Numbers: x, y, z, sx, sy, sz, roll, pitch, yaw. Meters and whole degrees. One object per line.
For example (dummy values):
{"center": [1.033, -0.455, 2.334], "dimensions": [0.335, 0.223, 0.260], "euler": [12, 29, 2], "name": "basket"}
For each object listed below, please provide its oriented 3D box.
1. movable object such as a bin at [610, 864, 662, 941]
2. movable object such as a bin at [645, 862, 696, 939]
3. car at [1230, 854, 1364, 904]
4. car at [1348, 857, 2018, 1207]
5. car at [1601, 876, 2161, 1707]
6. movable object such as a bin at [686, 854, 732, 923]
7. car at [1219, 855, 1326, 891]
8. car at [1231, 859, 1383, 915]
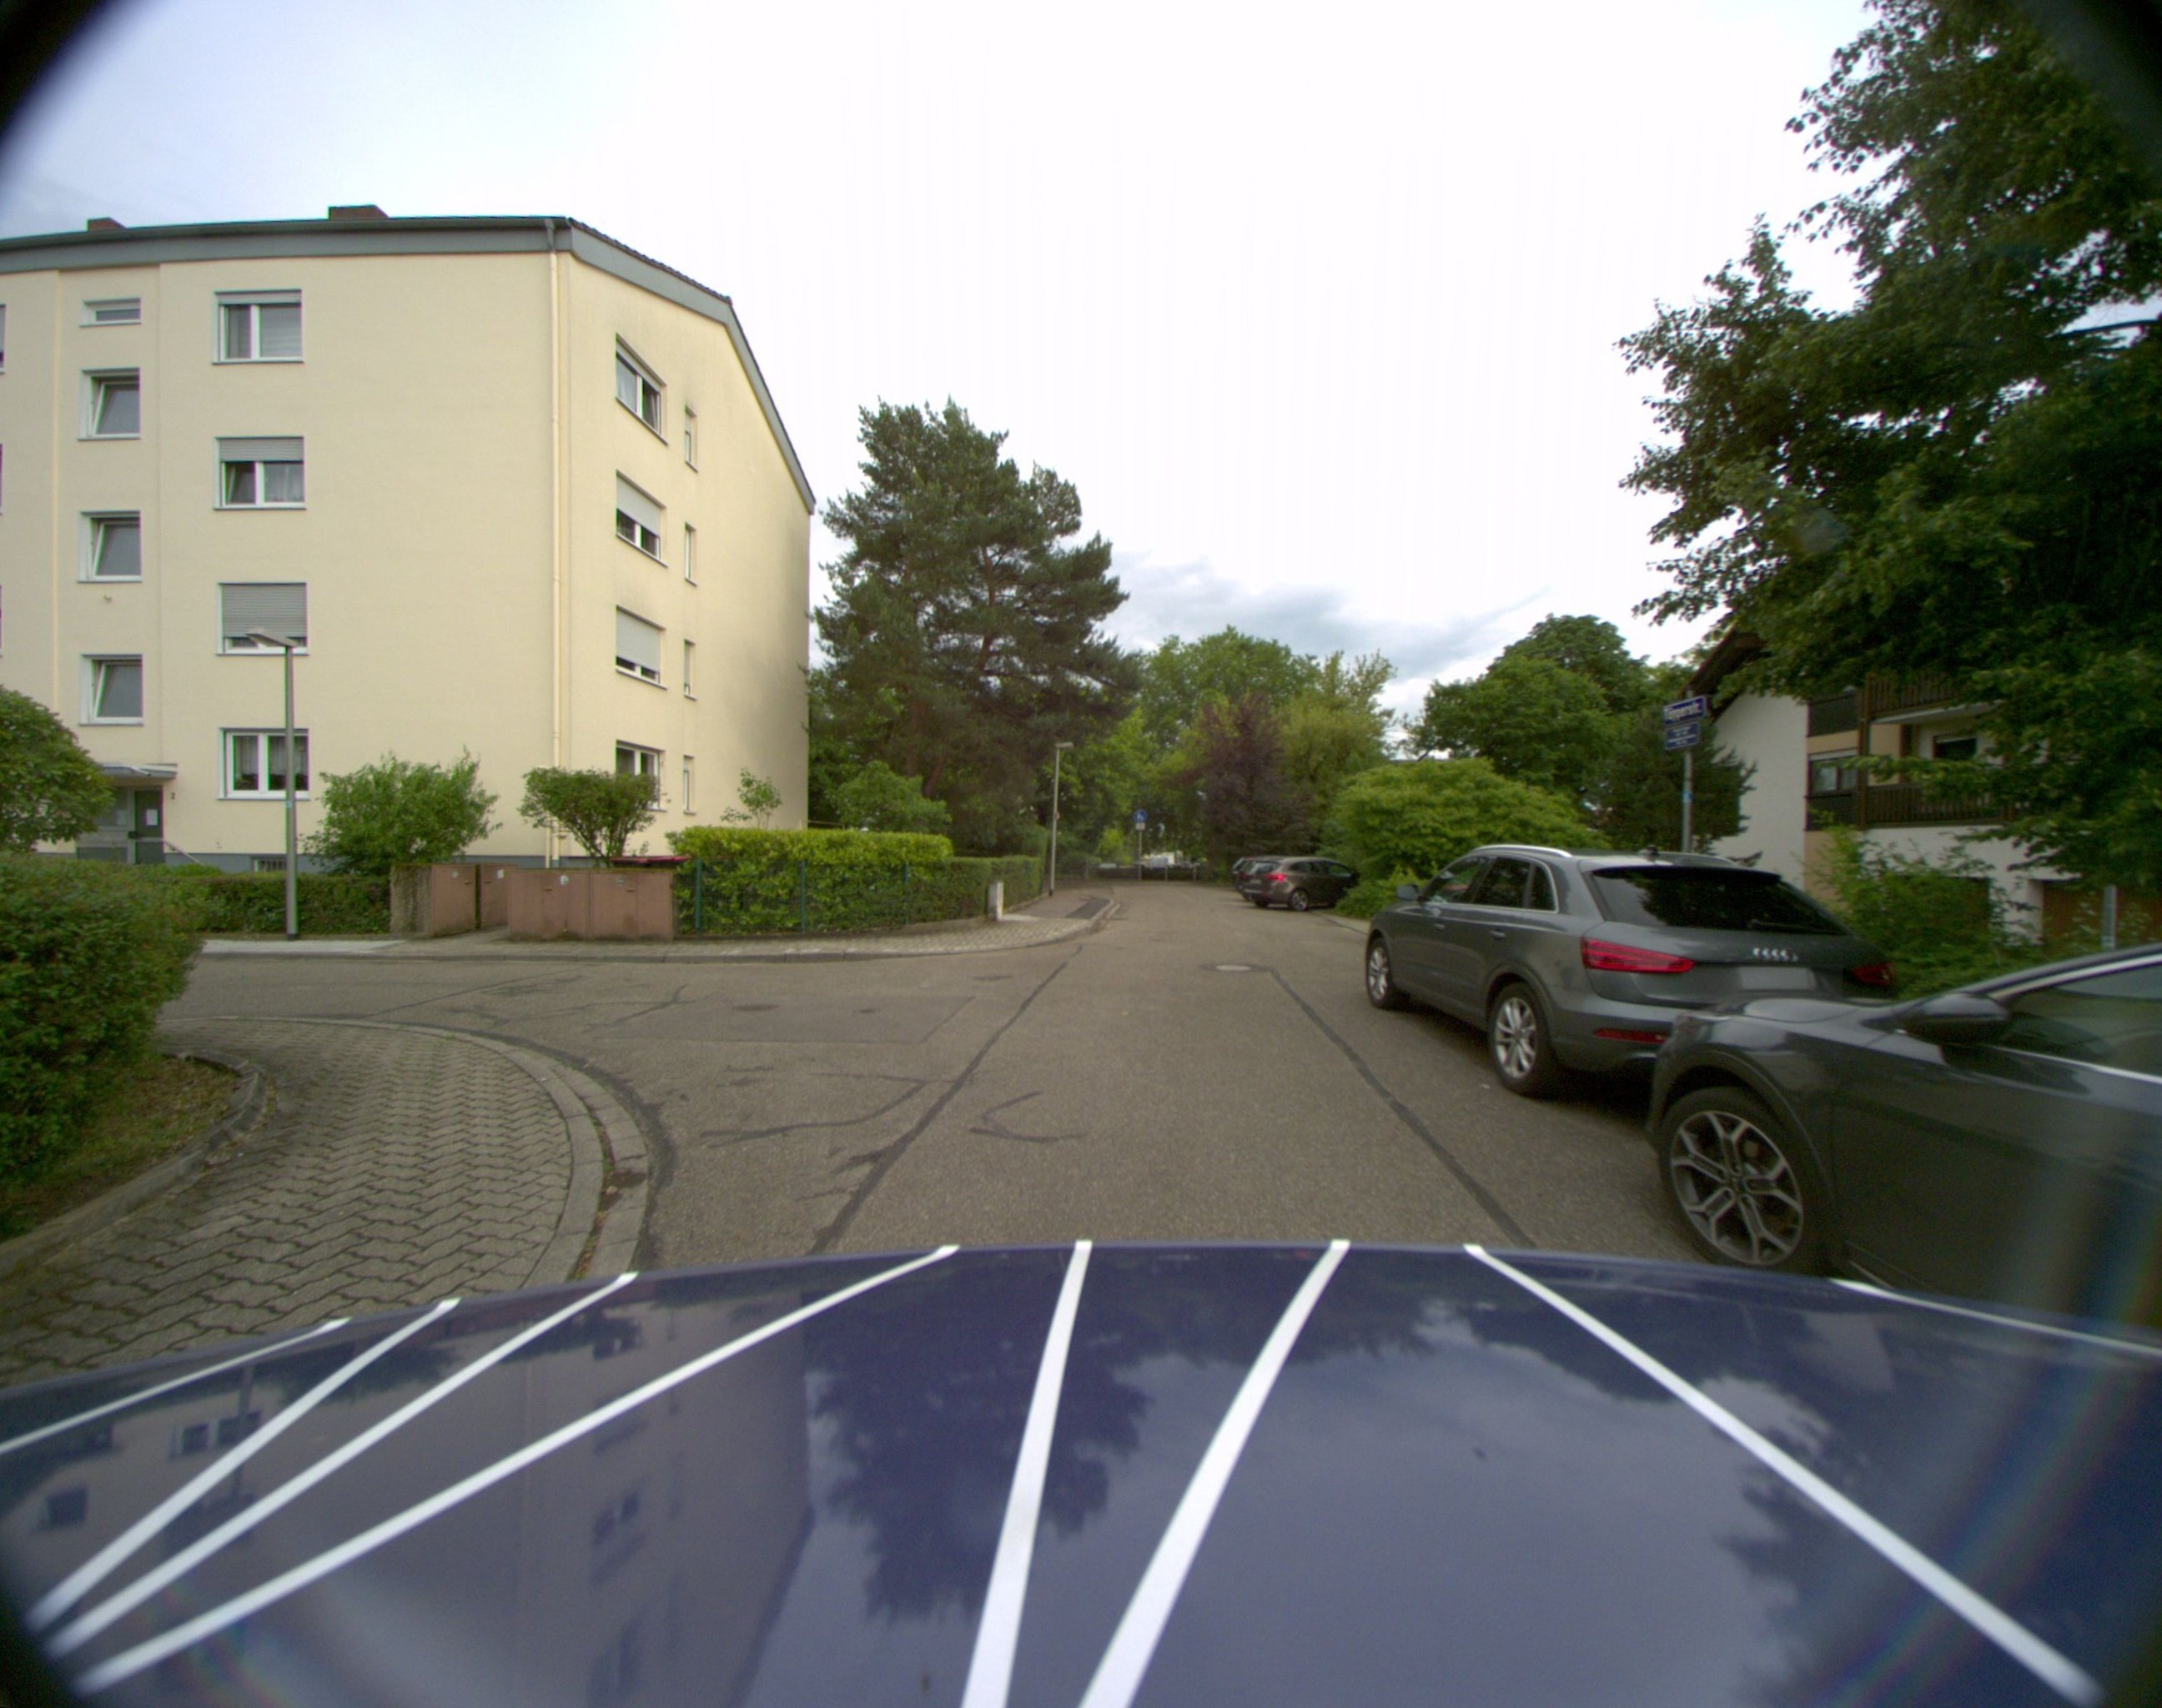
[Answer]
{"center": [-7.063, 0.760, 12.085], "dimensions": [0.515, 1.181, 0.507], "euler": [0, 1, 2], "name": "movable object such as a bin"}
{"center": [-6.511, 0.726, 12.071], "dimensions": [0.515, 1.180, 0.507], "euler": [1, 0, 2], "name": "movable object such as a bin"}
{"center": [7.051, 0.778, 24.798], "dimensions": [4.005, 1.482, 1.697], "euler": [0, 1, -22], "name": "car"}
{"center": [3.574, 0.850, 5.724], "dimensions": [1.746, 1.522, 4.251], "euler": [2, 1, 3], "name": "car"}
{"center": [2.872, 0.902, 1.089], "dimensions": [1.745, 1.522, 4.197], "euler": [2, 1, 8], "name": "car"}
{"center": [-6.341, 0.586, 12.983], "dimensions": [0.515, 1.158, 0.507], "euler": [1, 0, 2], "name": "movable object such as a bin"}
{"center": [7.822, 0.748, 31.003], "dimensions": [4.005, 1.367, 1.697], "euler": [0, 1, -22], "name": "car"}
{"center": [6.526, 0.899, 21.911], "dimensions": [4.005, 1.482, 1.697], "euler": [0, 1, -22], "name": "car"}
